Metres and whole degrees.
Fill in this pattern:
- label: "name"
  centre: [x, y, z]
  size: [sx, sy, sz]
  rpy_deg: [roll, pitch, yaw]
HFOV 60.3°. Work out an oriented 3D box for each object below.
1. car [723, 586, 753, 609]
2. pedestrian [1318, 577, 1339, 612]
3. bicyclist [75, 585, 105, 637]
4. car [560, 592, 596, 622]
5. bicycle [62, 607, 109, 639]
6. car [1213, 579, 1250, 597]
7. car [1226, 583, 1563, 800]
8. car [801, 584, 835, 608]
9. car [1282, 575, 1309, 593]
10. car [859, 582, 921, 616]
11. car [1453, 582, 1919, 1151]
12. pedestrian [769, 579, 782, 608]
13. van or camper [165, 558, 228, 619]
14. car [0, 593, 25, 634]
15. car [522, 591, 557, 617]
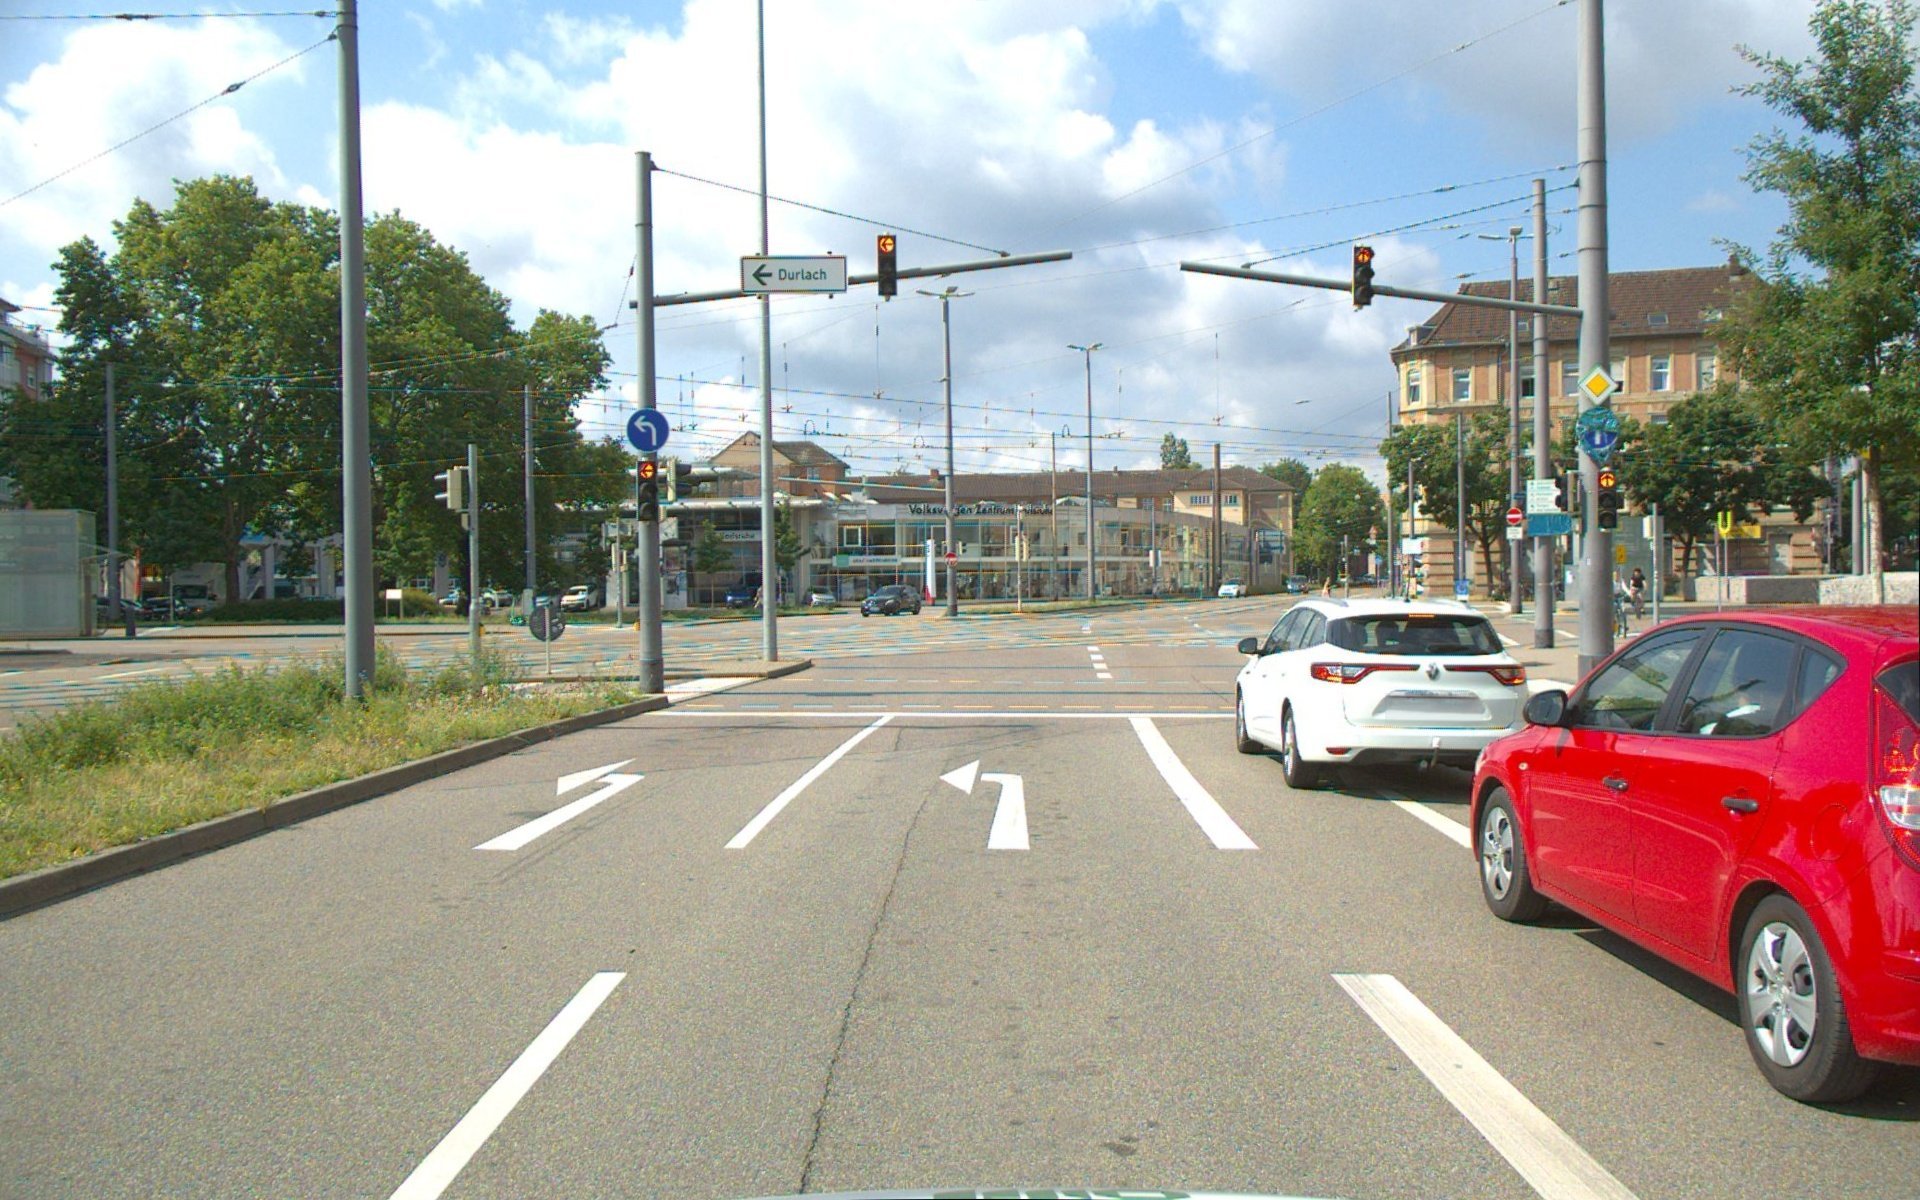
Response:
- label: "car"
  centre: [-15.641, -0.183, 116.790]
  size: [1.955, 1.579, 4.073]
  rpy_deg: [-1, 0, -6]
- label: "pedestrian"
  centre: [16.777, -0.264, 75.242]
  size: [0.669, 1.562, 0.664]
  rpy_deg: [-1, 0, -39]
- label: "bicyclist"
  centre: [-32.128, 0.409, 61.110]
  size: [0.873, 1.903, 0.759]
  rpy_deg: [-1, 0, -21]
- label: "car"
  centre: [-27.149, 0.478, 117.736]
  size: [1.955, 2.049, 3.995]
  rpy_deg: [-1, 0, -5]
- label: "bicycle"
  centre: [-32.248, 0.838, 61.029]
  size: [1.444, 1.136, 0.583]
  rpy_deg: [-1, 0, -22]
- label: "car"
  centre: [22.075, -0.989, 134.576]
  size: [1.954, 1.467, 3.997]
  rpy_deg: [-1, 1, 25]
- label: "car"
  centre: [3.420, 0.629, 13.854]
  size: [1.809, 1.498, 4.336]
  rpy_deg: [-1, 0, 2]
- label: "car"
  centre: [-10.124, -0.276, 117.753]
  size: [1.958, 1.624, 3.990]
  rpy_deg: [-1, 0, -11]
- label: "car"
  centre: [31.814, -1.517, 156.680]
  size: [1.952, 1.601, 4.001]
  rpy_deg: [-1, 1, 20]
- label: "car"
  centre: [-3.363, -0.061, 80.184]
  size: [1.951, 1.556, 4.003]
  rpy_deg: [-1, 1, 14]
- label: "car"
  centre: [3.377, 0.676, 6.285]
  size: [1.779, 1.464, 4.067]
  rpy_deg: [0, 1, 0]
- label: "pedestrian"
  centre: [-12.742, -0.454, 114.242]
  size: [0.865, 1.982, 0.887]
  rpy_deg: [-1, 0, -8]
- label: "van or camper"
  centre: [-39.073, -0.584, 84.797]
  size: [2.545, 2.959, 6.059]
  rpy_deg: [-1, 0, -22]
- label: "car"
  centre: [-41.559, 0.575, 69.212]
  size: [3.928, 1.691, 1.988]
  rpy_deg: [-1, 0, -20]
- label: "car"
  centre: [-29.981, 0.239, 118.073]
  size: [1.763, 1.800, 3.995]
  rpy_deg: [-1, 0, -5]
